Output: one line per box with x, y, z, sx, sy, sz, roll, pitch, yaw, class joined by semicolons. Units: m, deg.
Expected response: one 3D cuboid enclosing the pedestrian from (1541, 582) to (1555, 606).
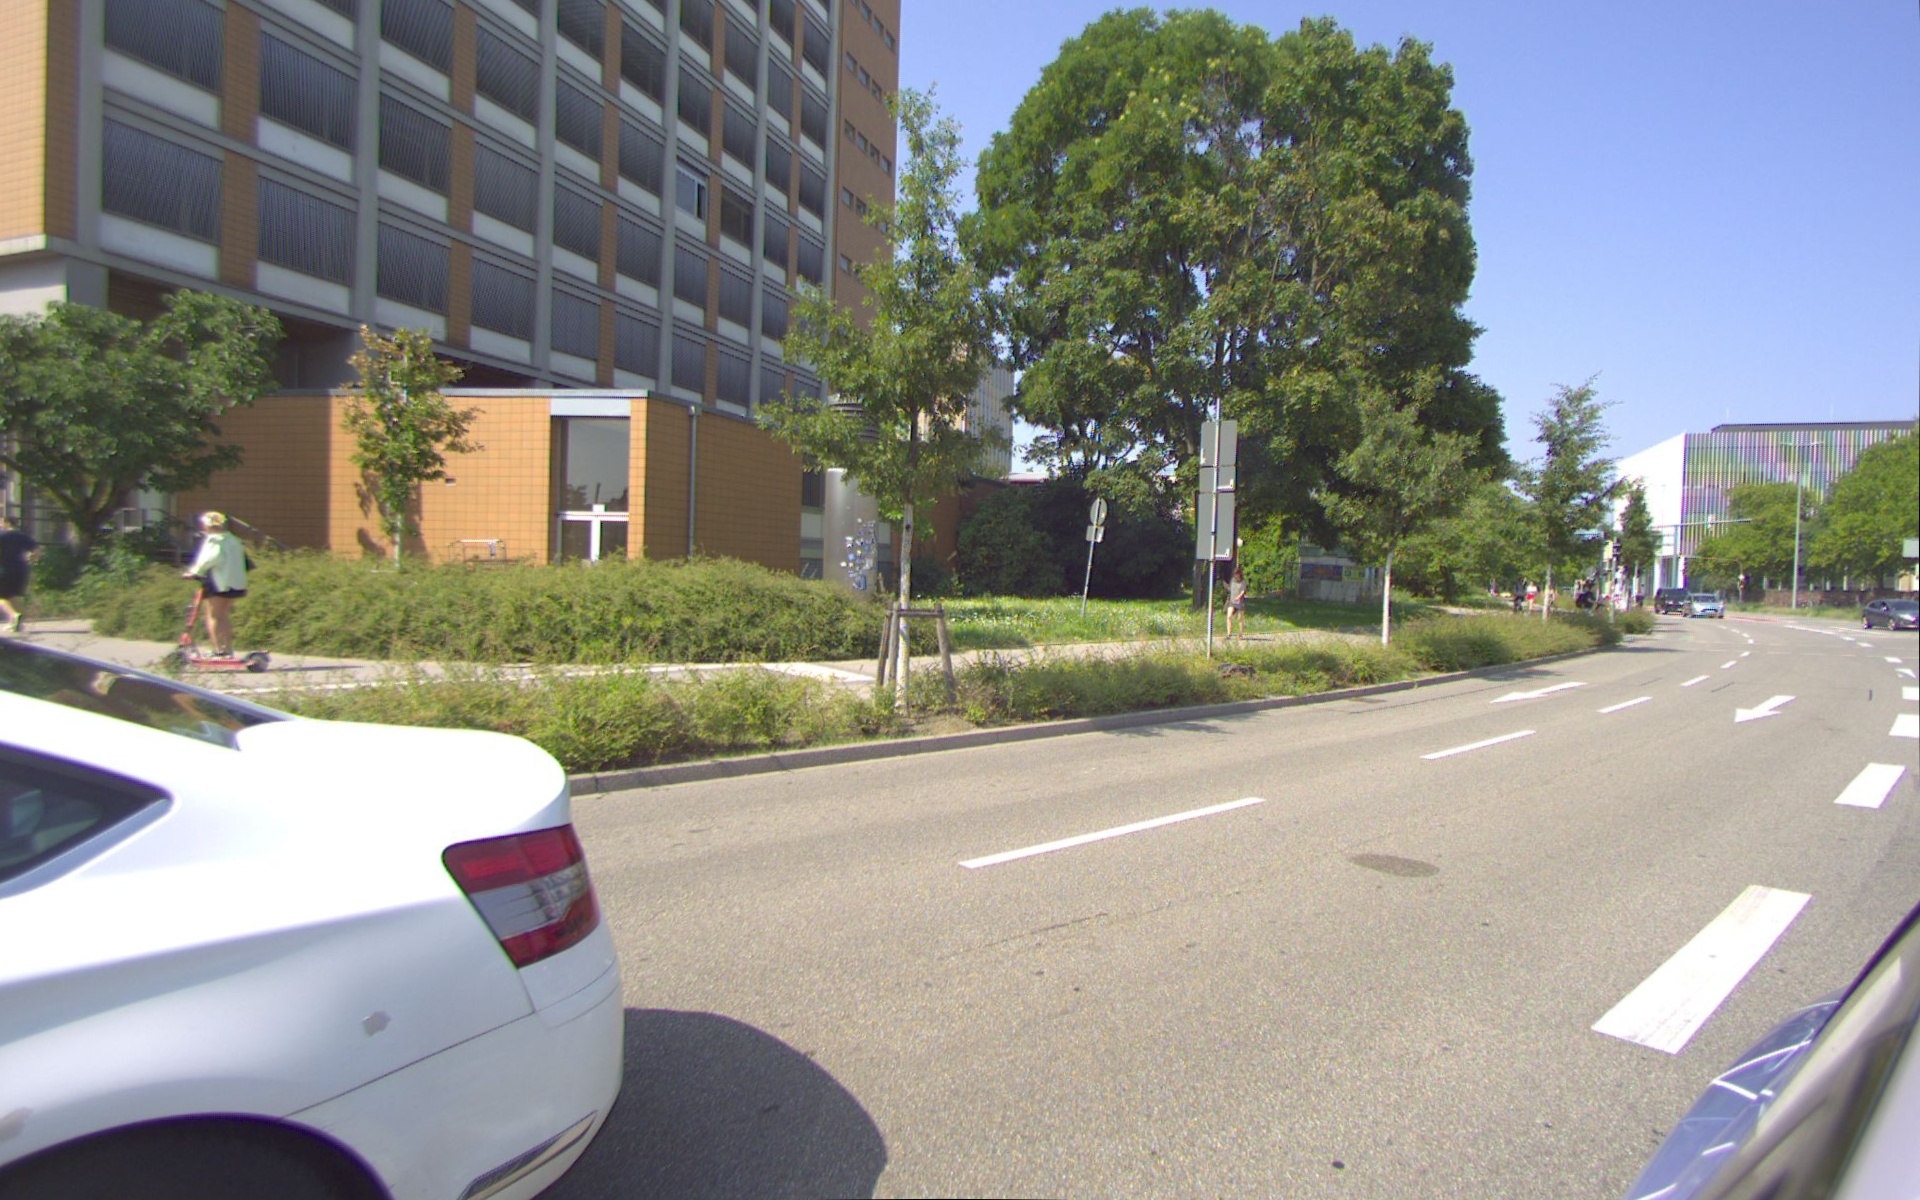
31.699;-0.326;54.539;0.610;1.315;0.434;0;0;24;pedestrian

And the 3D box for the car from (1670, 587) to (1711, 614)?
53.314;0.012;73.886;1.875;1.943;4.487;1;1;29;car

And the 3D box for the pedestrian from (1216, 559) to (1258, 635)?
6.499;-0.083;23.757;0.669;1.720;0.795;2;1;38;pedestrian

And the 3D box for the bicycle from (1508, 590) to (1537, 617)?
21.836;0.128;39.293;1.750;0.992;0.357;0;2;-40;bicycle

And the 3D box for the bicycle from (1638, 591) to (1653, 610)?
43.966;0.029;64.895;0.590;1.183;2.211;2;1;30;bicycle

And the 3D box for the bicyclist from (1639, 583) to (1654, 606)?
44.050;-0.375;64.961;0.674;1.417;1.038;2;1;31;bicyclist

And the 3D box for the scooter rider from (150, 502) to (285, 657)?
-8.887;-0.242;12.159;1.019;1.780;0.861;0;0;-7;scooter rider

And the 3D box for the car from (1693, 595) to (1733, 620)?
48.700;0.461;65.495;1.647;1.550;4.483;0;0;31;car

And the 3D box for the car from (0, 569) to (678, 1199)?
-2.844;0.678;1.157;4.525;1.446;1.774;0;2;-38;car

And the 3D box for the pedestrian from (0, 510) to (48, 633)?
-14.974;-0.455;16.003;0.831;1.894;0.622;2;2;32;pedestrian

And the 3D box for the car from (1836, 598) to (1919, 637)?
43.589;0.806;47.030;1.765;1.638;4.002;1;2;-34;car

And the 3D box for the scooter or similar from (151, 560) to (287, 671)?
-8.902;0.180;12.191;1.153;1.295;0.652;0;0;-6;scooter or similar

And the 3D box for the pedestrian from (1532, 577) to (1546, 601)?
31.356;-0.594;54.801;0.628;1.315;0.483;0;0;24;pedestrian

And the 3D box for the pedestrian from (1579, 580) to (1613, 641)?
20.504;0.333;32.627;0.819;1.926;0.622;2;1;38;pedestrian

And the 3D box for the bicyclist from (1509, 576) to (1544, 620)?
21.950;-0.084;39.202;0.908;1.625;0.903;1;1;-42;bicyclist
